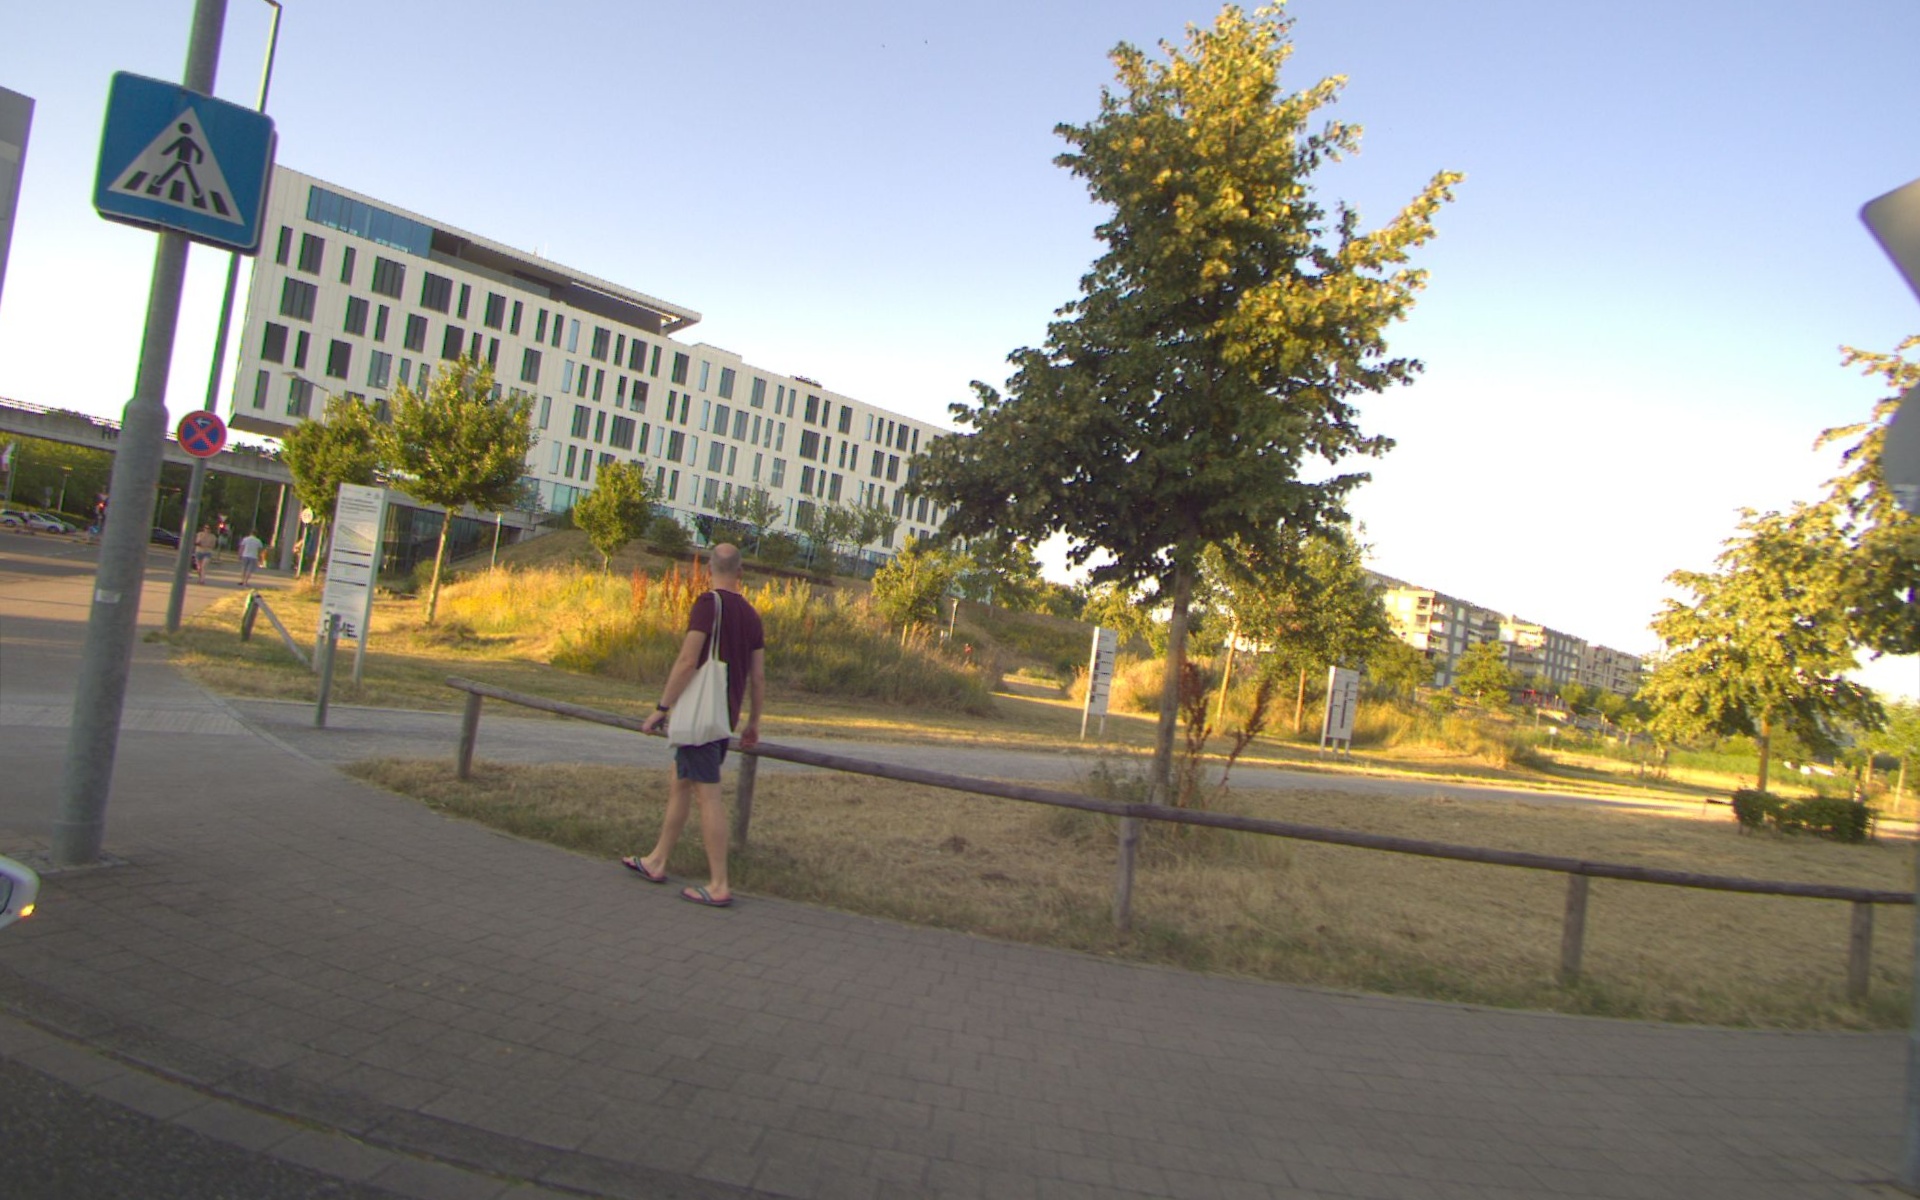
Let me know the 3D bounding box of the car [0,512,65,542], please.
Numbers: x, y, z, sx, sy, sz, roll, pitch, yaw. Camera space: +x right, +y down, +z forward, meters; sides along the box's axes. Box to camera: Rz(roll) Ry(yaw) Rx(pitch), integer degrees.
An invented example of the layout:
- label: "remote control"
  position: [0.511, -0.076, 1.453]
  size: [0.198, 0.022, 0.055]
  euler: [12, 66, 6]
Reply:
- label: "car"
  position: [-79.452, -6.213, 85.777]
  size: [4.399, 1.744, 1.814]
  euler: [10, -2, -40]

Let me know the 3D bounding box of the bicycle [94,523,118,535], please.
- label: "bicycle"
  position: [-100.627, -8.351, 118.529]
  size: [0.550, 1.141, 1.969]
  euler: [9, -1, 27]

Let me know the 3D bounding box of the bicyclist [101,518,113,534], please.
- label: "bicyclist"
  position: [-100.527, -8.756, 118.609]
  size: [0.542, 1.743, 0.759]
  euler: [9, 0, 27]

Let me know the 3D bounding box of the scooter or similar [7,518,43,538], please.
- label: "scooter or similar"
  position: [-71.905, -5.540, 77.359]
  size: [0.754, 1.187, 1.857]
  euler: [8, -1, 44]

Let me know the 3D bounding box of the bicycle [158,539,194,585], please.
- label: "bicycle"
  position: [-22.291, -1.093, 28.619]
  size: [0.447, 1.182, 1.925]
  euler: [9, -1, -31]

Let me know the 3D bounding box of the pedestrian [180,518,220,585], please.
- label: "pedestrian"
  position: [-21.796, -1.390, 28.855]
  size: [0.590, 1.823, 0.811]
  euler: [9, 0, -30]

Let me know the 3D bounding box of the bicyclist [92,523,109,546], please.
- label: "bicyclist"
  position: [-68.518, -5.225, 80.192]
  size: [0.763, 1.724, 0.507]
  euler: [9, 0, -39]

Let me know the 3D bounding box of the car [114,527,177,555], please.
- label: "car"
  position: [-77.189, -5.611, 95.450]
  size: [4.395, 1.820, 1.816]
  euler: [10, -1, -37]

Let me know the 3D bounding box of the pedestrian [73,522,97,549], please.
- label: "pedestrian"
  position: [-67.391, -4.943, 77.488]
  size: [0.882, 1.855, 1.054]
  euler: [9, -1, 39]

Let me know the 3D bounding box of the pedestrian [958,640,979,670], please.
- label: "pedestrian"
  position: [0.525, 3.570, 65.659]
  size: [0.810, 1.787, 0.827]
  euler: [9, 0, -30]

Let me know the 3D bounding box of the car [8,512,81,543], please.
- label: "car"
  position: [-80.723, -6.381, 88.754]
  size: [4.395, 1.820, 1.816]
  euler: [10, -1, -37]

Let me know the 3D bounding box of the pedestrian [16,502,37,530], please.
- label: "pedestrian"
  position: [-71.786, -6.462, 77.352]
  size: [0.761, 2.014, 0.907]
  euler: [9, 0, 44]

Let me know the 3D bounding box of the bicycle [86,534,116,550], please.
- label: "bicycle"
  position: [-68.531, -4.603, 80.259]
  size: [1.687, 0.959, 0.506]
  euler: [10, -1, -39]

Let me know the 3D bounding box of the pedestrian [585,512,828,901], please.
- label: "pedestrian"
  position: [-1.317, 0.515, 5.164]
  size: [0.728, 1.805, 0.794]
  euler: [9, 0, -35]

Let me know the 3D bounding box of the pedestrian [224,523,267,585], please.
- label: "pedestrian"
  position: [-22.441, -1.441, 31.615]
  size: [0.826, 1.787, 0.811]
  euler: [9, 0, -31]
